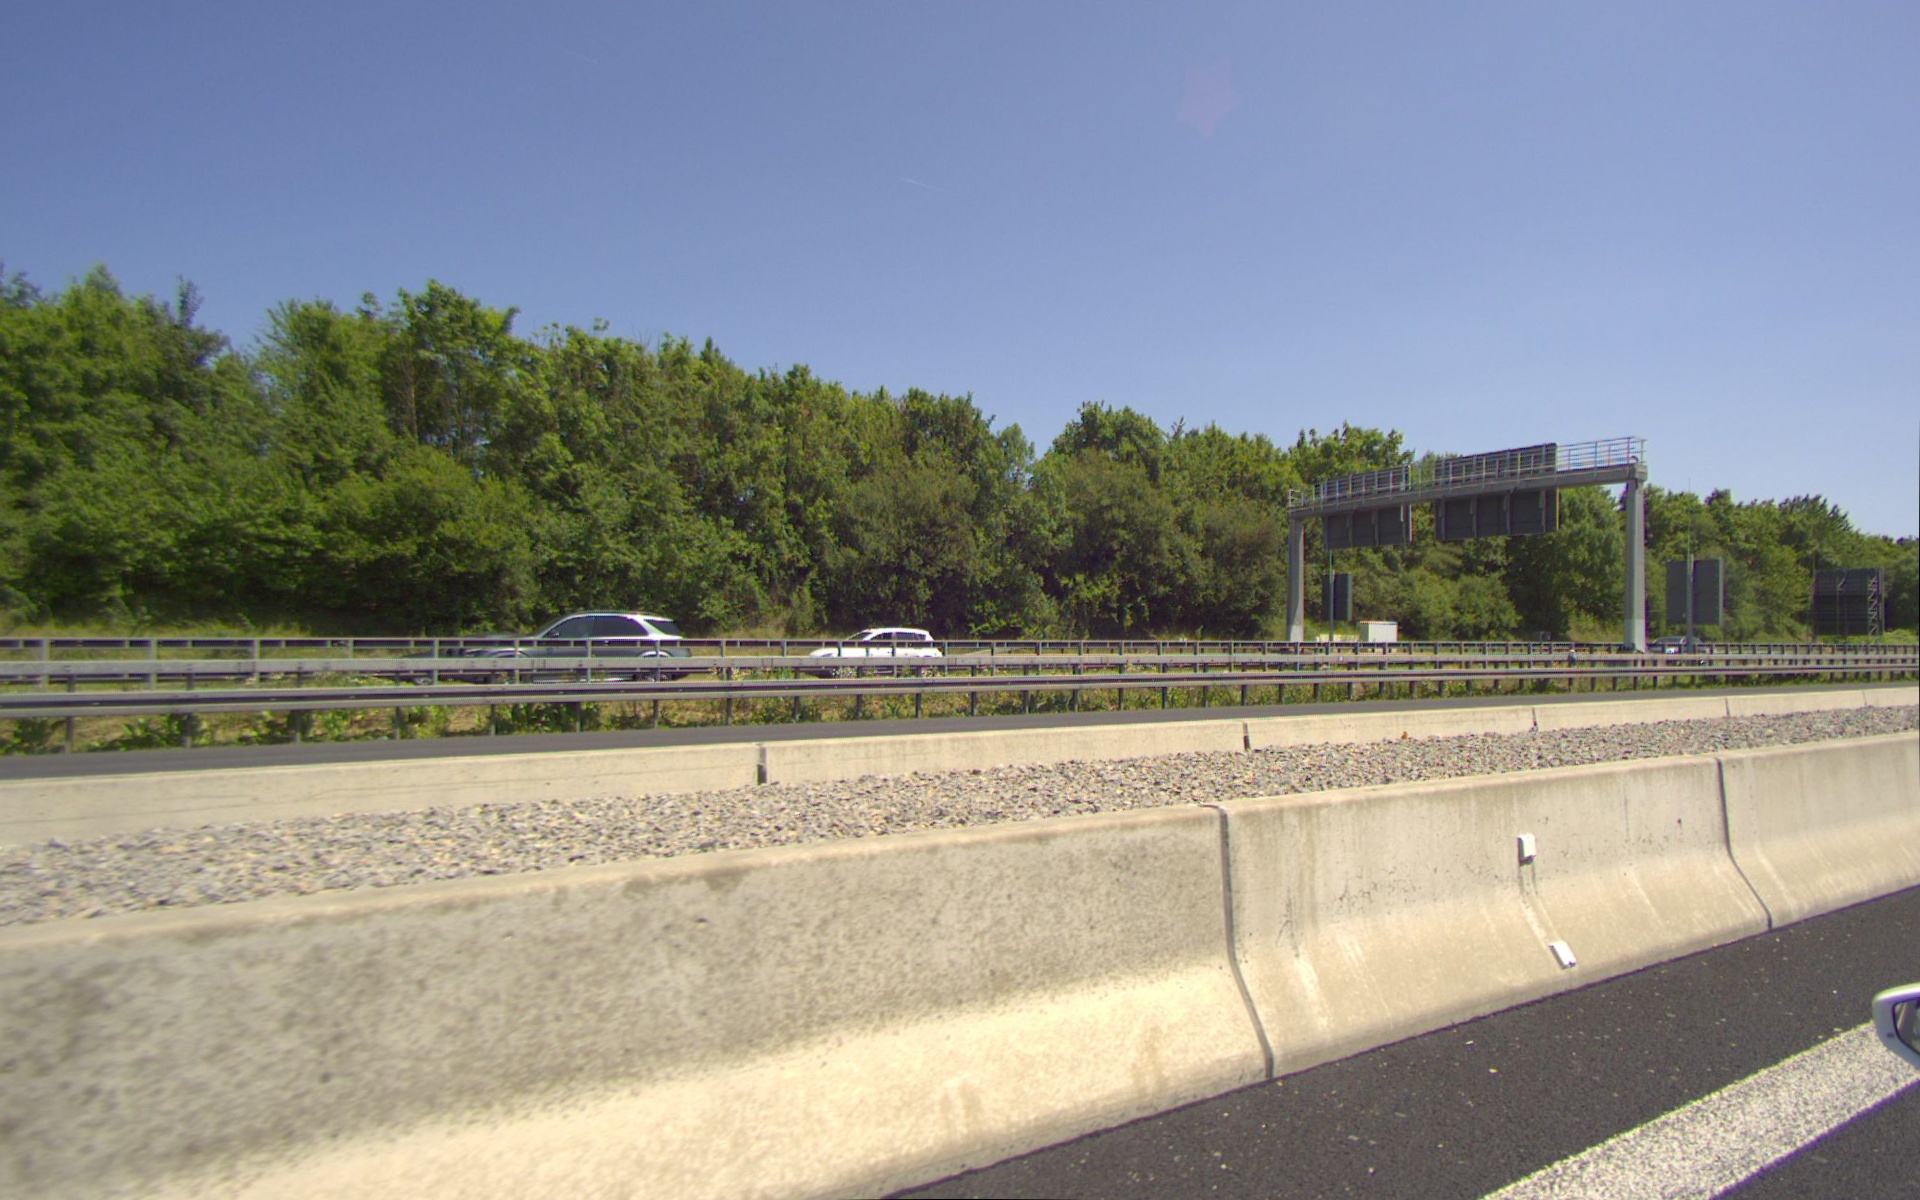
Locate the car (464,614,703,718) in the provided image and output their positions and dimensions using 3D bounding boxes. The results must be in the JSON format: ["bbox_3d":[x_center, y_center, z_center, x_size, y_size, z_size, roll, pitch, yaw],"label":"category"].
[{"bbox_3d":[-8.278,1.415,22.161,4.704,2.040,1.938,2,0,-28],"label":"car"}]

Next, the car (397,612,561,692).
[{"bbox_3d":[-13.391,1.442,28.063,3.971,2.040,1.938,2,0,-28],"label":"car"}]

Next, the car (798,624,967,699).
[{"bbox_3d":[-2.316,1.843,30.424,4.704,2.040,1.938,2,0,-28],"label":"car"}]
